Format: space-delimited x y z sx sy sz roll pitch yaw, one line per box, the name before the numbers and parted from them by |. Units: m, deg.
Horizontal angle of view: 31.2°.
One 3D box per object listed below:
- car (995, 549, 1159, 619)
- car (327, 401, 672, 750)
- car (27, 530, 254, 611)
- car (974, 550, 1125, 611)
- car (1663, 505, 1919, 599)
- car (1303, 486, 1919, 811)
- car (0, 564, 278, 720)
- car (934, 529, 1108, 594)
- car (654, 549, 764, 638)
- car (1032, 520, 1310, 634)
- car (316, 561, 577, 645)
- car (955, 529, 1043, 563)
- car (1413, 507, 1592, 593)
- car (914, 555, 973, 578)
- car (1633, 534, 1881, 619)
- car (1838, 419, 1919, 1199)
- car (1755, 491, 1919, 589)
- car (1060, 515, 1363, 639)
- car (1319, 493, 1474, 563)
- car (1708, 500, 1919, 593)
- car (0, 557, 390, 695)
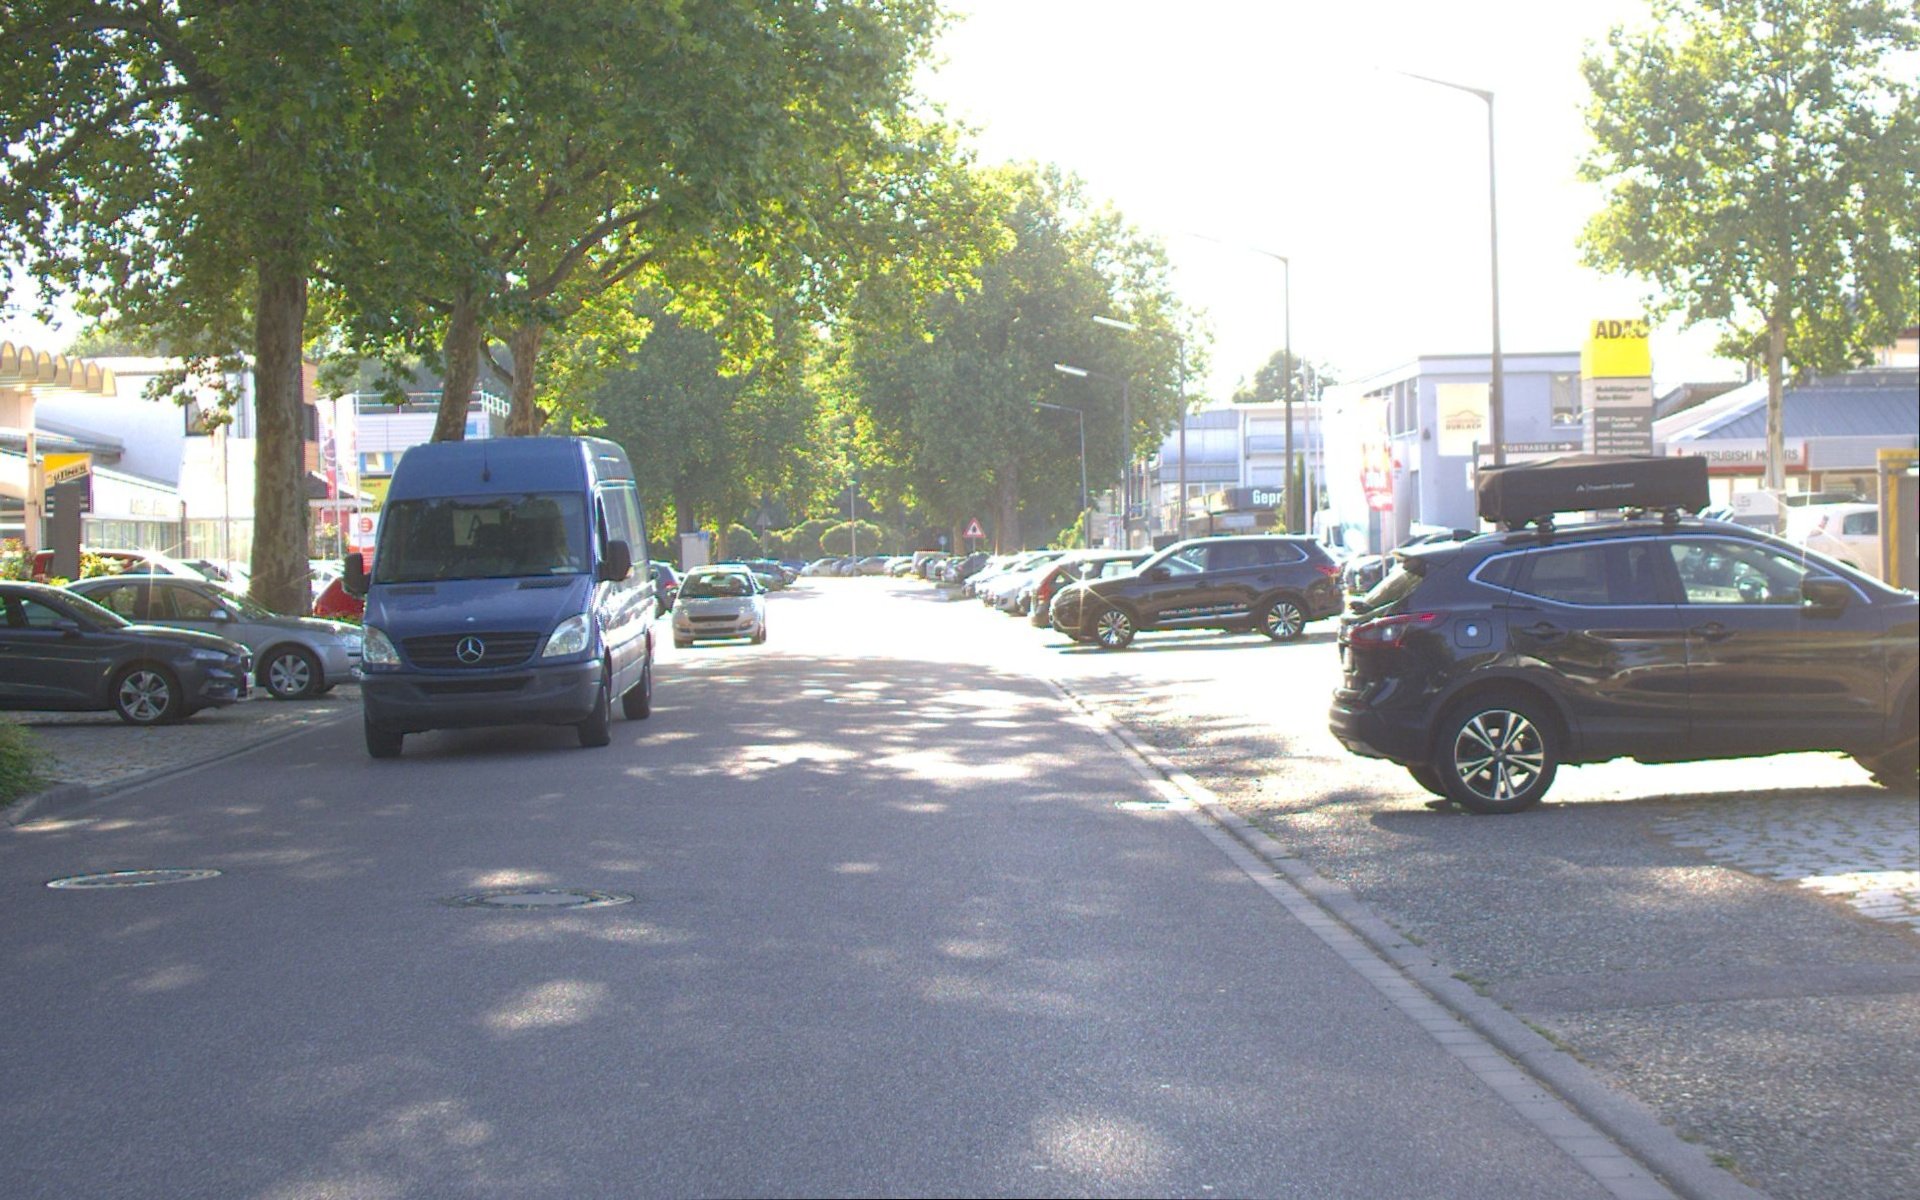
car | 3.010 -0.421 89.022 3.986 1.582 1.868 -3 1 -4
car | -3.888 -0.304 30.382 2.127 2.650 7.002 -2 2 -1
car | -18.667 -0.678 78.475 4.745 1.813 2.000 0 1 -2
car | 2.846 -0.628 110.485 4.554 1.592 2.202 -5 1 -3
car | 14.505 -0.836 59.999 3.986 1.590 2.000 0 1 -5
car | 4.493 0.198 20.044 4.624 1.521 2.000 -5 1 -2
car | -9.172 0.420 34.340 4.353 1.417 2.000 -1 2 -3
car | 1.449 -0.913 81.013 3.987 1.292 1.784 -3 1 2
car | -4.796 -0.146 66.121 1.838 1.565 3.802 -3 1 -1
car | 3.664 -0.409 60.333 4.600 1.607 2.000 -5 1 -1
car | -8.957 0.033 60.245 4.296 1.441 2.000 0 1 -1
car | 1.781 -2.503 158.585 3.987 1.411 2.000 -2 1 -1
car | 13.081 -1.216 83.105 3.933 1.891 2.202 -1 4 -1
car | -1.126 -2.289 234.223 3.987 1.411 1.827 -2 1 -1
car | 14.531 -0.441 62.840 3.986 1.514 2.000 0 1 -5
car | 4.231 0.316 6.220 4.624 1.706 2.000 -5 1 -2
car | 14.773 -0.944 54.064 3.986 1.492 2.000 0 1 -5
car | 3.953 -0.369 54.712 4.601 1.574 2.000 -5 1 1
car | 12.649 -2.084 99.868 4.144 1.765 2.000 -3 1 -1
car | 14.740 -0.896 57.440 3.986 1.514 1.954 0 1 -5
car | -9.094 0.291 39.980 4.599 1.417 2.000 -1 2 -1
